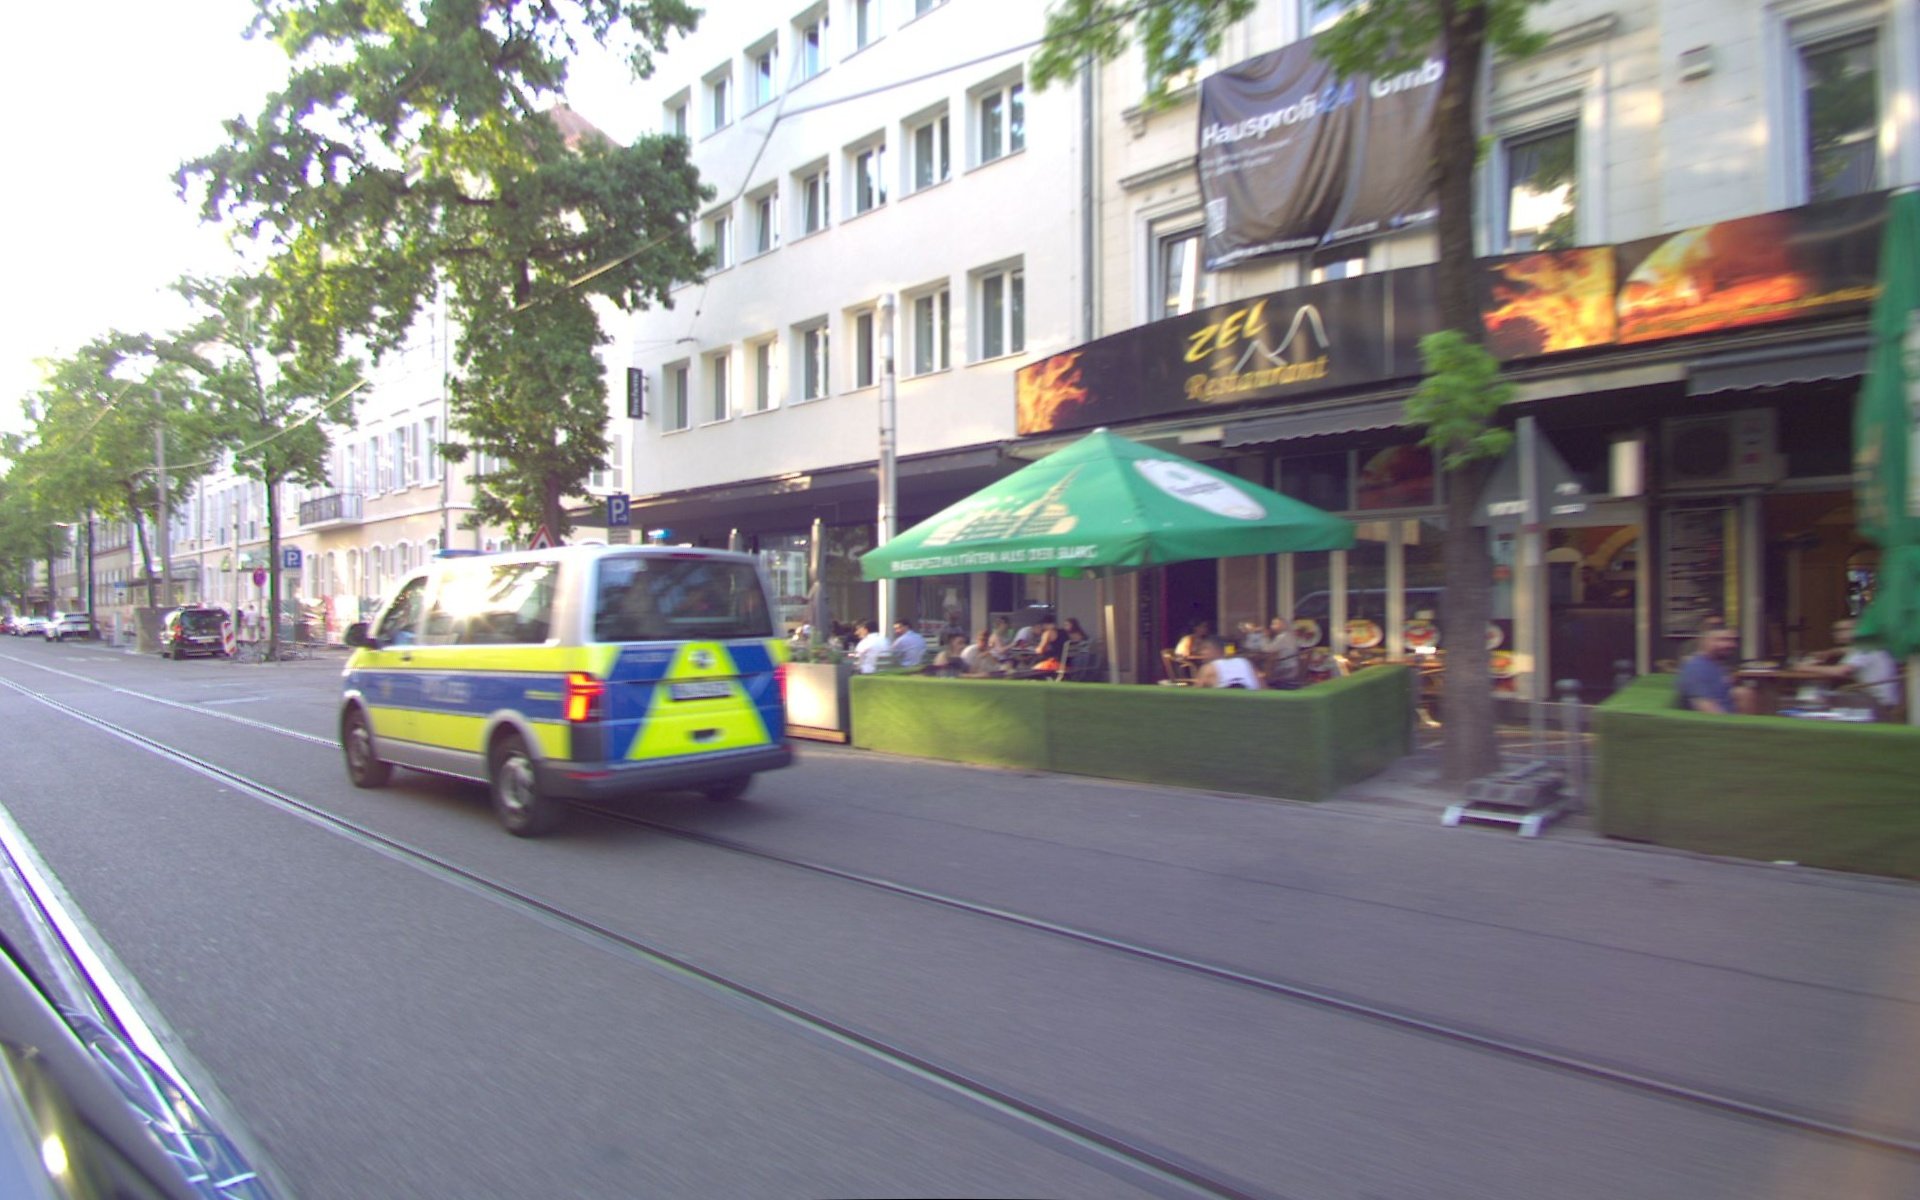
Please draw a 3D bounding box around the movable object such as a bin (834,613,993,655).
[{"bbox_3d":[-1.915,1.455,44.722,2.898,1.677,7.195,0,-1,40],"label":"movable object such as a bin"}]

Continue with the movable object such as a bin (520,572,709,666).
[{"bbox_3d":[-11.530,0.611,34.141,2.642,2.894,5.491,0,-1,40],"label":"movable object such as a bin"}]

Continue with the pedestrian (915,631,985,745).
[{"bbox_3d":[-0.116,0.997,11.674,0.544,1.245,0.579,-1,0,44],"label":"pedestrian"}]

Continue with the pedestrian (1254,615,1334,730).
[{"bbox_3d":[4.252,0.901,12.892,0.765,1.388,0.647,0,0,43],"label":"pedestrian"}]

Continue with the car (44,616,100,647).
[{"bbox_3d":[-51.479,1.798,58.651,4.104,1.751,1.972,-1,-1,42],"label":"car"}]

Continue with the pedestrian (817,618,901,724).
[{"bbox_3d":[-1.386,0.939,13.827,0.925,1.372,0.708,-1,0,44],"label":"pedestrian"}]

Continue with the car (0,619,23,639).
[{"bbox_3d":[-79.931,2.425,84.735,4.106,1.588,1.971,-1,-1,44],"label":"car"}]

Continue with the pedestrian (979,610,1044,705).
[{"bbox_3d":[0.792,0.861,15.588,0.765,1.388,0.647,0,0,43],"label":"pedestrian"}]

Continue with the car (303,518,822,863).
[{"bbox_3d":[-3.454,0.555,8.207,4.848,1.991,1.972,-1,-1,42],"label":"car"}]

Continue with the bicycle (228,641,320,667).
[{"bbox_3d":[-21.535,1.682,31.801,1.328,0.711,2.052,-1,0,36],"label":"bicycle"}]

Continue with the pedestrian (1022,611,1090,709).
[{"bbox_3d":[1.430,0.861,15.018,0.765,1.388,0.647,0,0,43],"label":"pedestrian"}]

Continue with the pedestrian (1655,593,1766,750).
[{"bbox_3d":[7.028,0.635,9.479,0.765,1.388,0.647,0,0,43],"label":"pedestrian"}]

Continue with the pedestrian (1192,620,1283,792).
[{"bbox_3d":[2.379,0.875,8.675,0.565,1.388,0.541,0,0,43],"label":"pedestrian"}]

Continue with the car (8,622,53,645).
[{"bbox_3d":[-65.223,2.324,71.018,4.104,1.514,1.972,-1,-1,42],"label":"car"}]

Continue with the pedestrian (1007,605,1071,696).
[{"bbox_3d":[1.255,0.775,16.078,0.765,1.388,0.647,0,0,43],"label":"pedestrian"}]

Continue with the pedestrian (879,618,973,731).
[{"bbox_3d":[-0.440,0.937,13.109,1.012,1.372,0.708,-1,0,44],"label":"pedestrian"}]

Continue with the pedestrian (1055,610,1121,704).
[{"bbox_3d":[1.952,0.847,15.468,0.765,1.388,0.647,0,0,43],"label":"pedestrian"}]

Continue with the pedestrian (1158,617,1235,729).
[{"bbox_3d":[3.098,0.926,13.264,0.765,1.388,0.647,0,0,43],"label":"pedestrian"}]

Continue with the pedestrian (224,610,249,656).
[{"bbox_3d":[-31.029,1.407,43.384,0.769,1.898,0.670,-1,1,43],"label":"pedestrian"}]

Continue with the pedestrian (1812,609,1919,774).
[{"bbox_3d":[7.854,0.753,8.717,0.765,1.340,0.647,0,0,43],"label":"pedestrian"}]

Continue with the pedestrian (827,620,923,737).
[{"bbox_3d":[-1.066,0.952,12.672,1.012,1.372,0.708,-1,0,44],"label":"pedestrian"}]

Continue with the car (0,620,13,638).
[{"bbox_3d":[-84.470,2.521,88.652,4.106,1.561,1.971,-1,-1,44],"label":"car"}]

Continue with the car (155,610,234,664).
[{"bbox_3d":[-27.919,1.314,36.880,1.748,1.778,3.880,-3,1,-44],"label":"car"}]

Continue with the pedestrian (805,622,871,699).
[{"bbox_3d":[-2.231,1.087,18.523,0.837,1.330,0.882,-1,0,-44],"label":"pedestrian"}]

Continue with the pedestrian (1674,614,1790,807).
[{"bbox_3d":[5.533,0.749,7.248,0.600,1.274,0.701,0,0,42],"label":"pedestrian"}]

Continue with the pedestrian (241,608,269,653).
[{"bbox_3d":[-30.719,1.327,44.098,0.880,1.898,0.749,-1,1,43],"label":"pedestrian"}]

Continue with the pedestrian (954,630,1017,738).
[{"bbox_3d":[0.303,0.990,12.113,0.511,1.228,0.537,-1,0,44],"label":"pedestrian"}]
